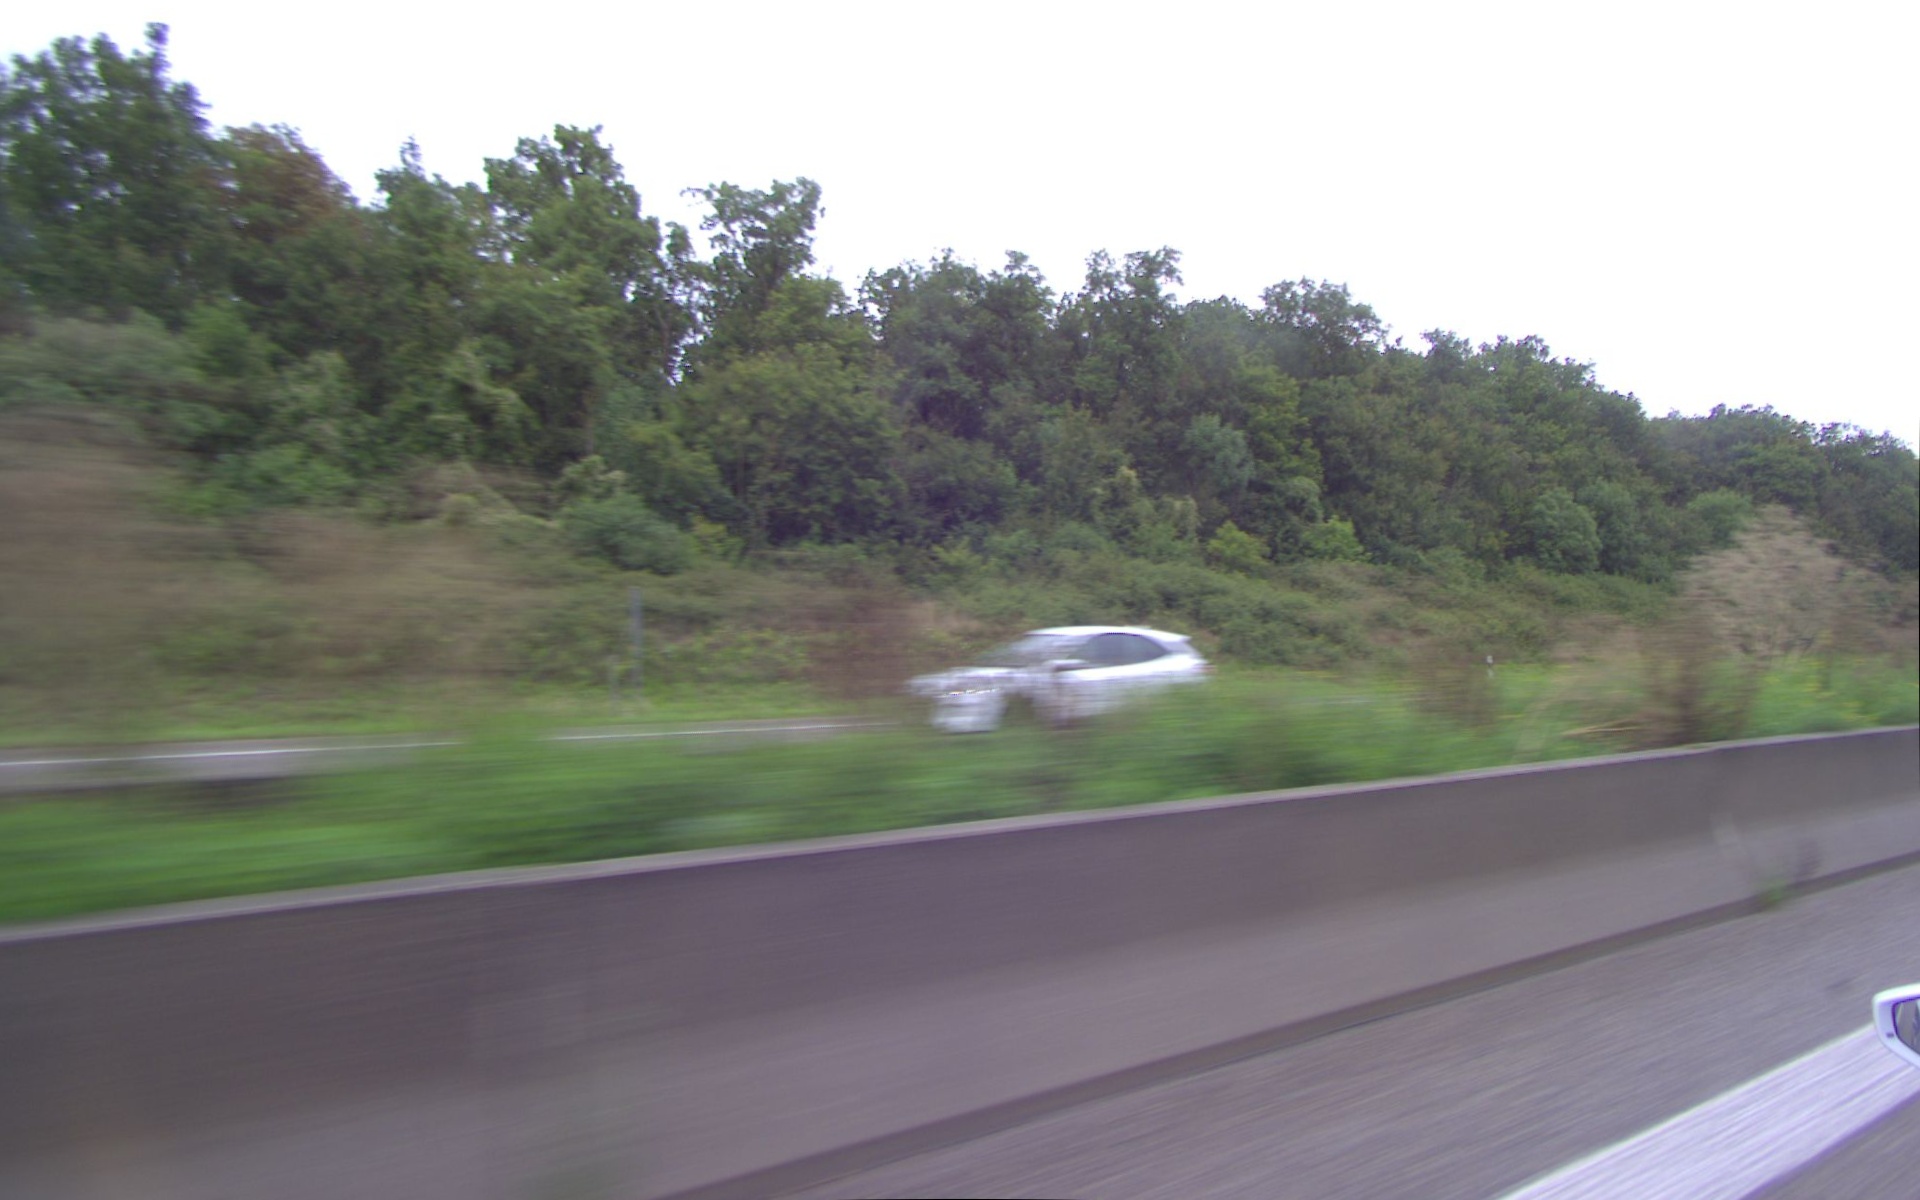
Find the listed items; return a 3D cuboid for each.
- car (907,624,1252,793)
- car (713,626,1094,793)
[{"bbox_3d":[1.748,1.392,14.183,4.601,2.040,1.984,1,-2,-31],"label":"car"},{"bbox_3d":[-0.652,1.246,12.771,4.446,1.745,1.983,2,-1,-32],"label":"car"}]
